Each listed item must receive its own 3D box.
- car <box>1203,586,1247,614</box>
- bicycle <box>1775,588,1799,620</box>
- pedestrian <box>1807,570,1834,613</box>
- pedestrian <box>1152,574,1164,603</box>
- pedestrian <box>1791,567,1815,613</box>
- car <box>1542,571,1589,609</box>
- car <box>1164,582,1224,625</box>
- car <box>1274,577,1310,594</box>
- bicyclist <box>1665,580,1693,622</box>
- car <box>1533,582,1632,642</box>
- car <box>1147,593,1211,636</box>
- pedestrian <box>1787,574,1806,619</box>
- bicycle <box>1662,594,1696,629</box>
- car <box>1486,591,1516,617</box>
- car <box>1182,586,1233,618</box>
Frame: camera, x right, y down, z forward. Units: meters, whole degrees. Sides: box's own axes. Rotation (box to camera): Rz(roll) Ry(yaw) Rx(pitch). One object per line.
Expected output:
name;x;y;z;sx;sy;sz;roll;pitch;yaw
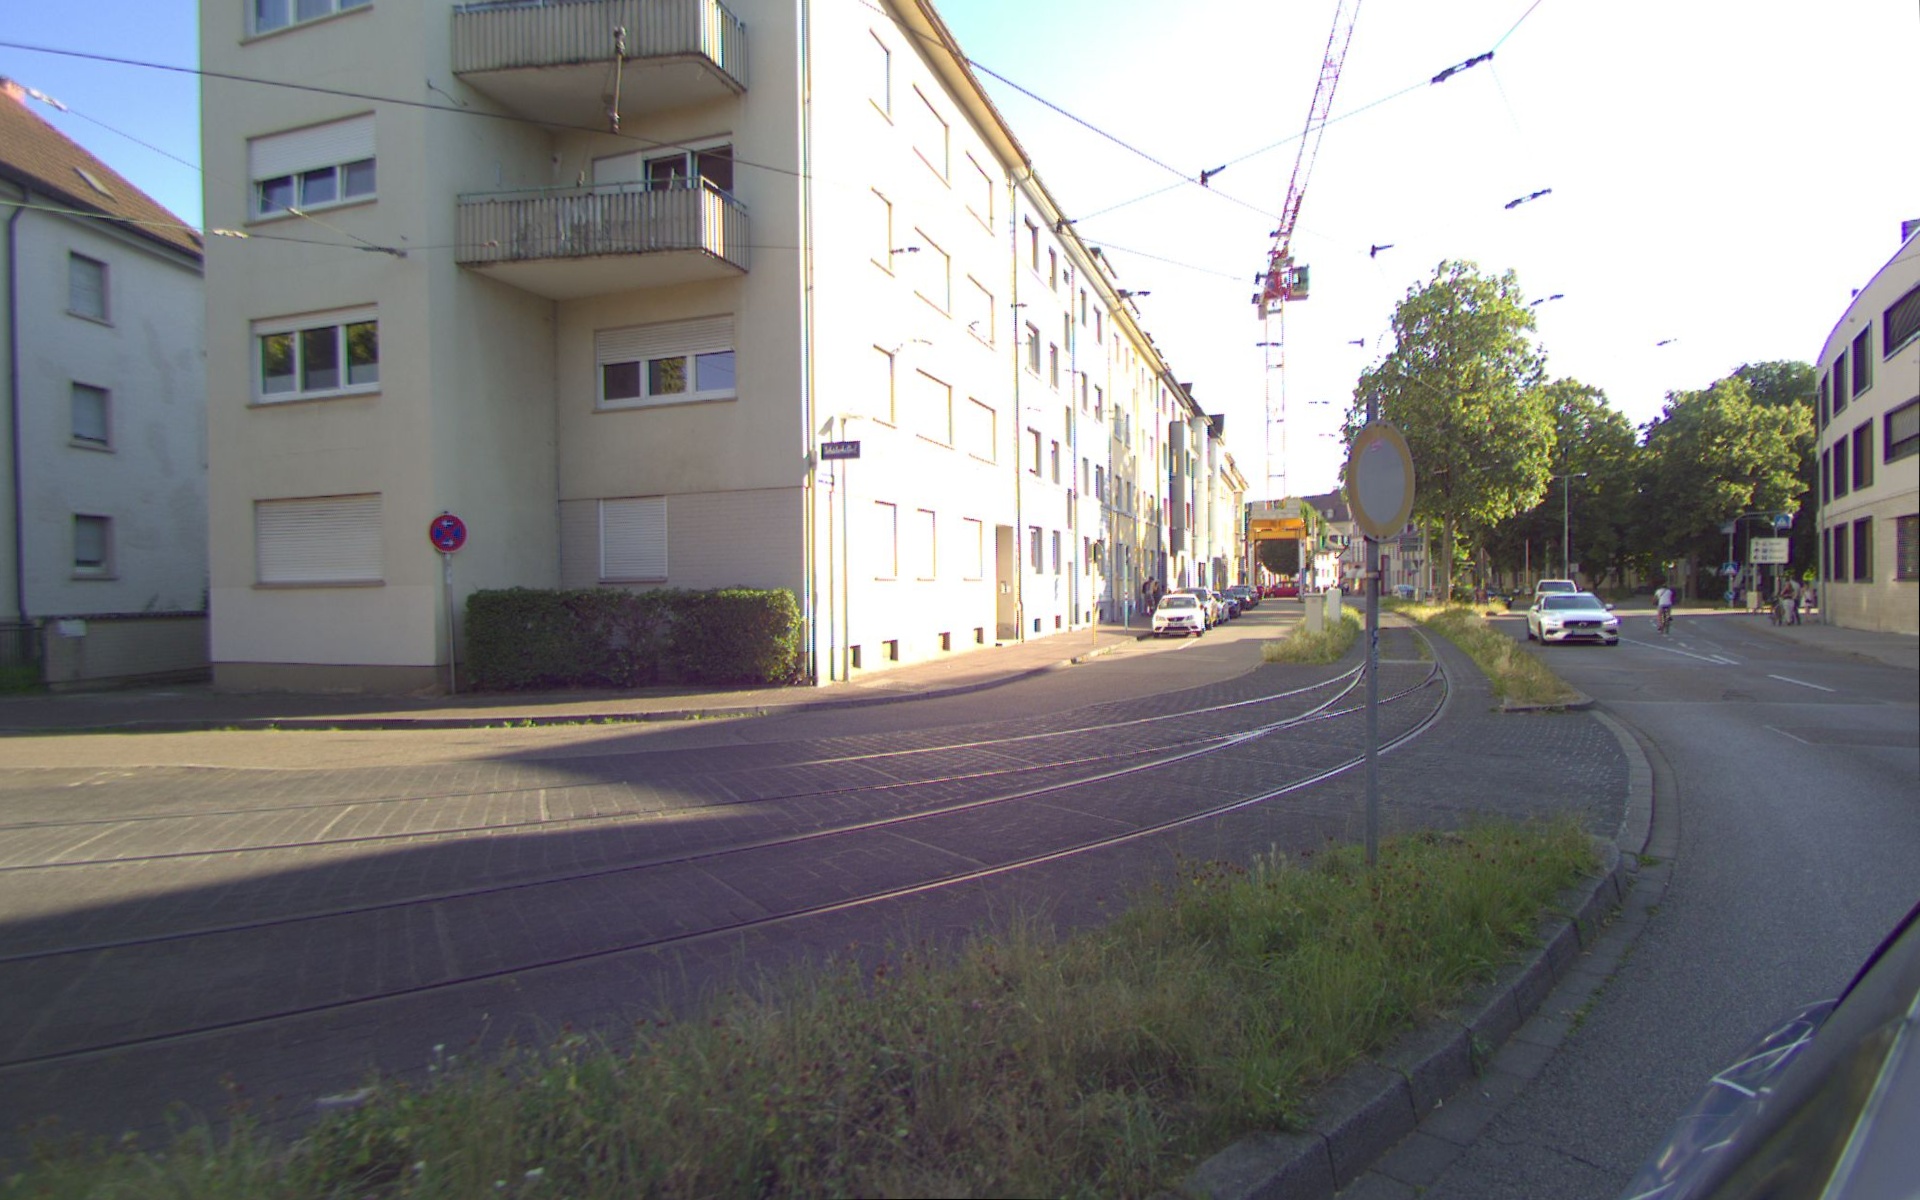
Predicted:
car;13.651;-0.010;52.030;1.974;1.404;4.420;0;0;18
bicycle;31.469;0.145;38.498;1.934;1.193;0.440;0;-1;-44
pedestrian;35.159;-0.353;41.369;0.699;1.735;0.833;-2;0;32
pedestrian;9.956;-0.572;50.814;0.518;1.458;0.458;-1;0;20
pedestrian;34.709;-0.426;41.682;0.602;1.872;0.981;-2;0;32
car;31.161;-0.502;52.188;1.983;1.877;4.851;0;0;30
car;9.415;0.096;40.481;1.974;1.591;4.615;0;1;18
car;39.828;-1.719;121.577;4.016;1.945;1.989;0;0;17
bicyclist;24.214;0.028;34.097;0.618;1.397;0.794;0;1;26
car;17.576;0.306;28.787;1.835;1.482;4.730;-4;-1;26
car;7.741;0.449;35.527;1.971;1.404;4.425;0;0;15
pedestrian;31.553;-0.137;38.175;0.473;1.668;0.593;-3;-2;43
bicycle;24.211;0.371;34.110;0.618;1.095;1.768;0;1;26
car;35.756;0.235;66.919;1.699;1.637;3.962;-1;1;28
car;11.260;0.069;45.840;1.974;1.404;4.420;0;0;18
